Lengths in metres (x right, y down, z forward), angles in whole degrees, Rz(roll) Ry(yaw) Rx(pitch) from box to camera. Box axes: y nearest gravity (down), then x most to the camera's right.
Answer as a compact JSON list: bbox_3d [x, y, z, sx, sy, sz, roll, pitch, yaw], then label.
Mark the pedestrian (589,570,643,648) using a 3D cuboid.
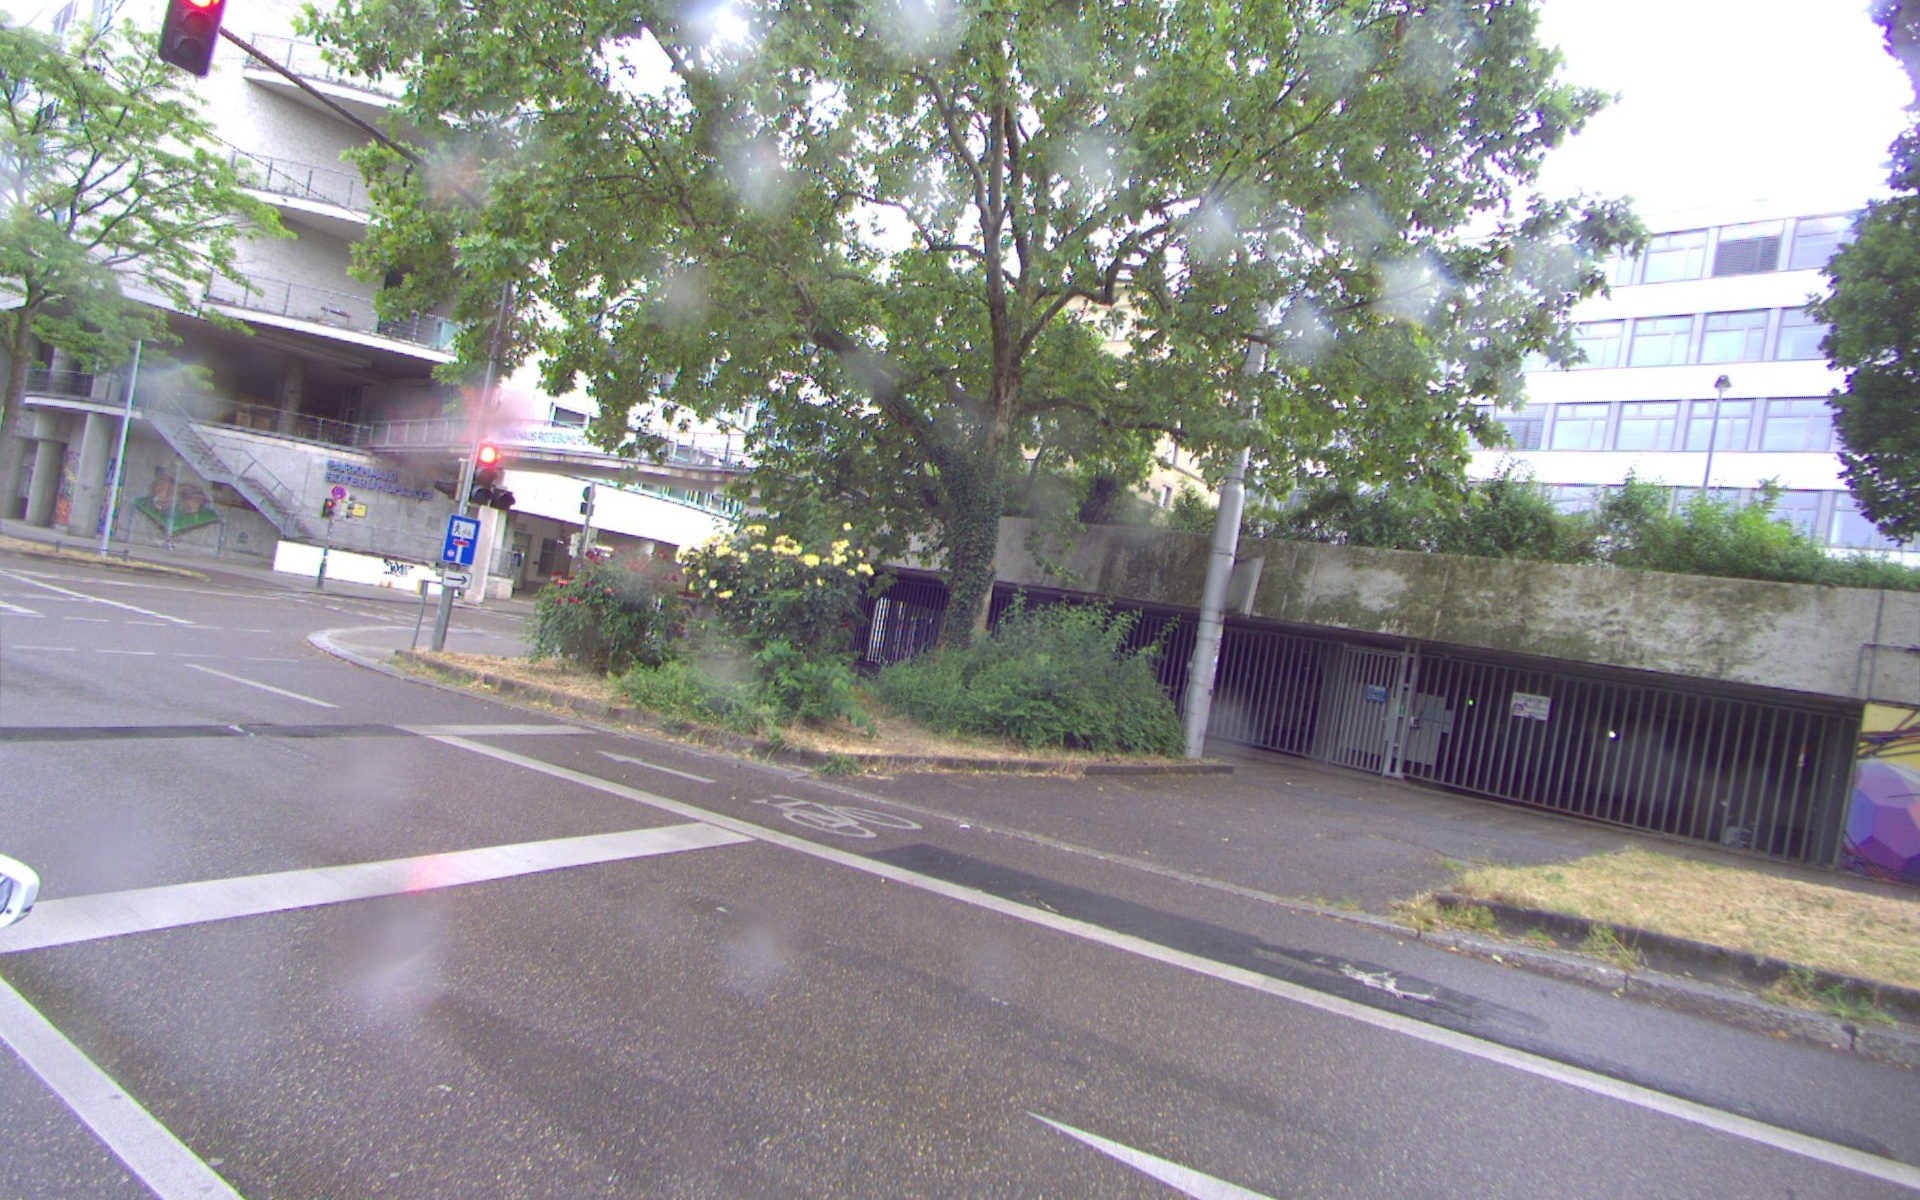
[{"bbox_3d":[-9.211,0.247,26.944,0.745,1.932,0.847,8,-1,31],"label":"pedestrian"}]
